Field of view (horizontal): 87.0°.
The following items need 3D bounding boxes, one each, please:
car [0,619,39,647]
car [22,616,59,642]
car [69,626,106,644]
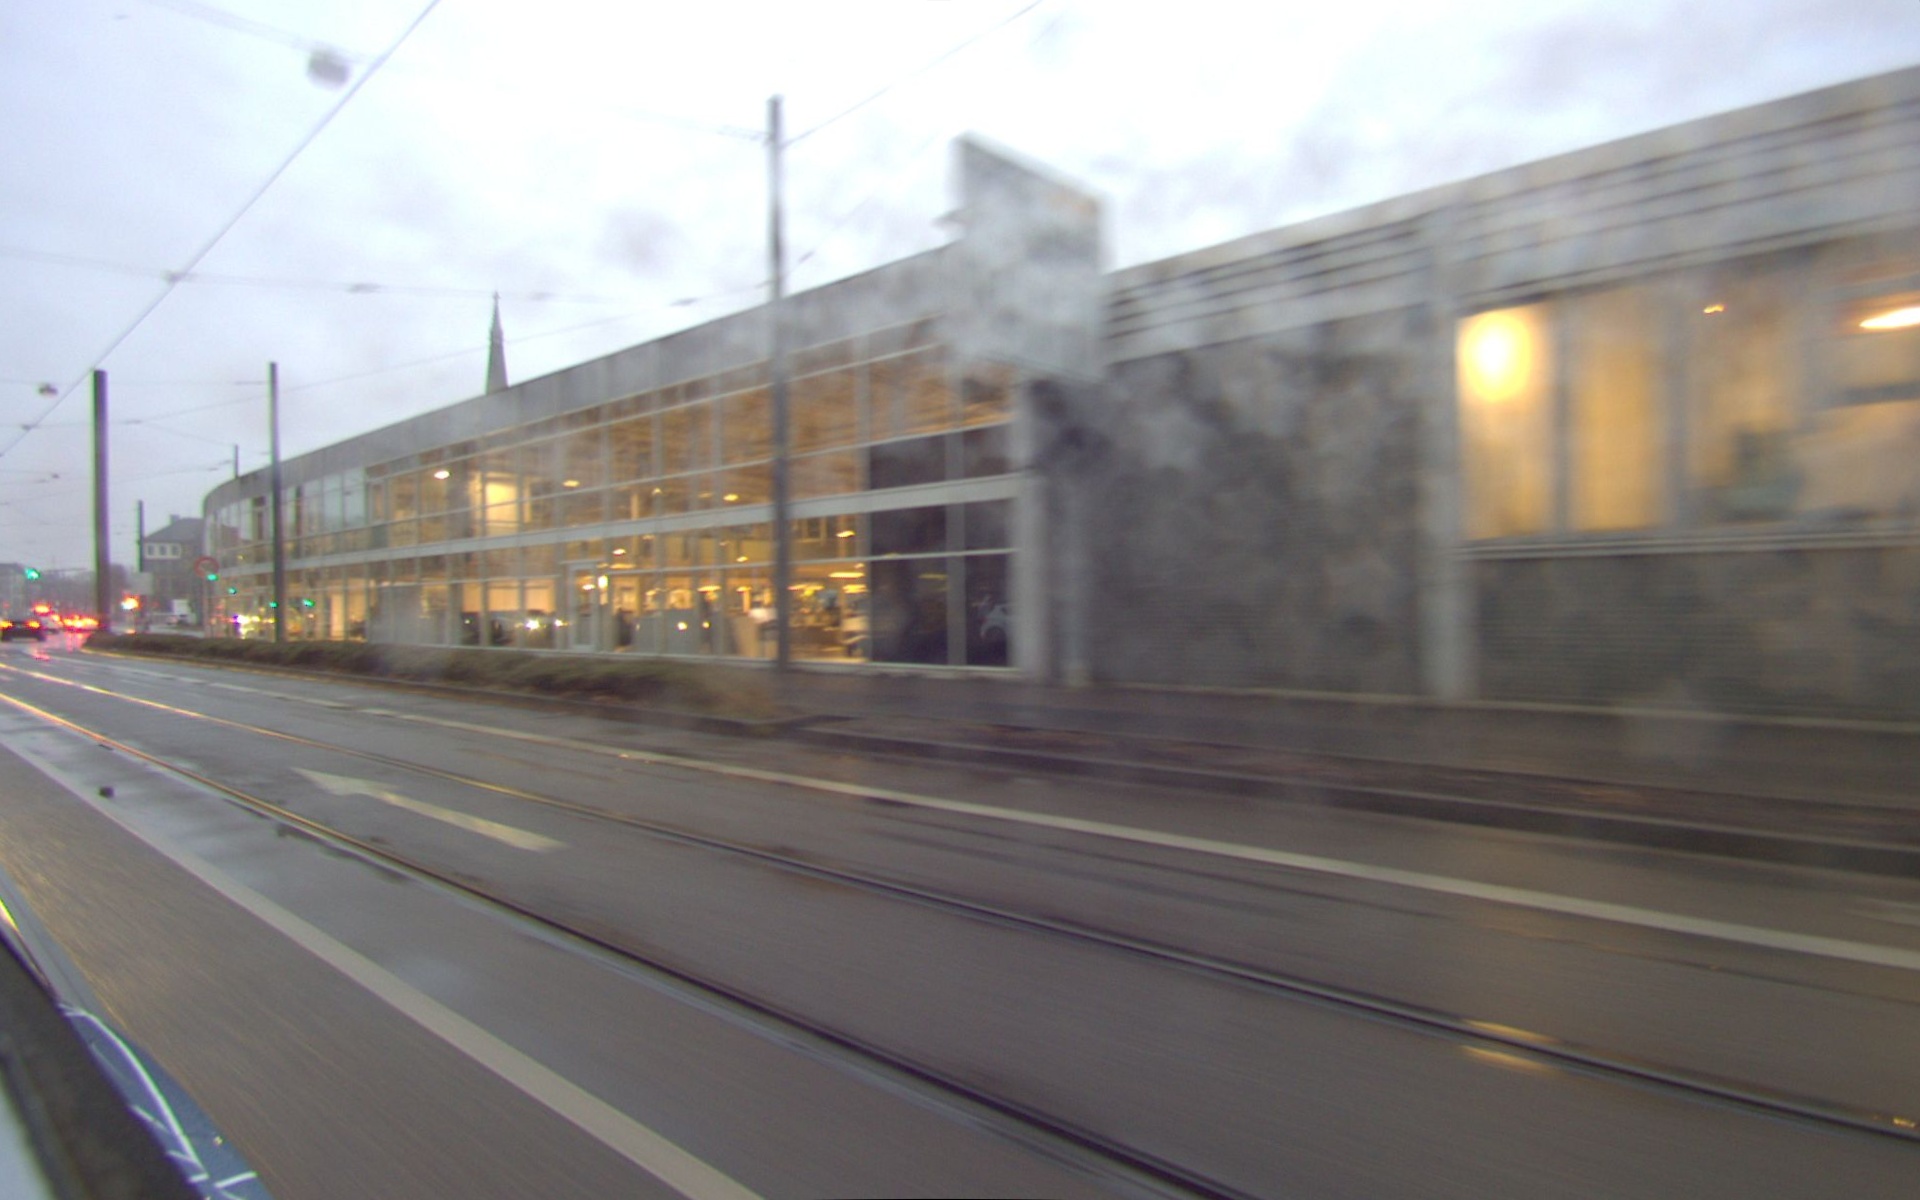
[{"bbox_3d":[-56.568,1.927,60.514,4.442,1.590,1.821,-1,-1,43],"label":"car"},{"bbox_3d":[-74.046,2.301,81.480,4.687,2.029,1.971,-1,0,45],"label":"car"},{"bbox_3d":[-74.574,3.003,86.462,4.589,1.432,1.971,-1,0,44],"label":"car"}]
